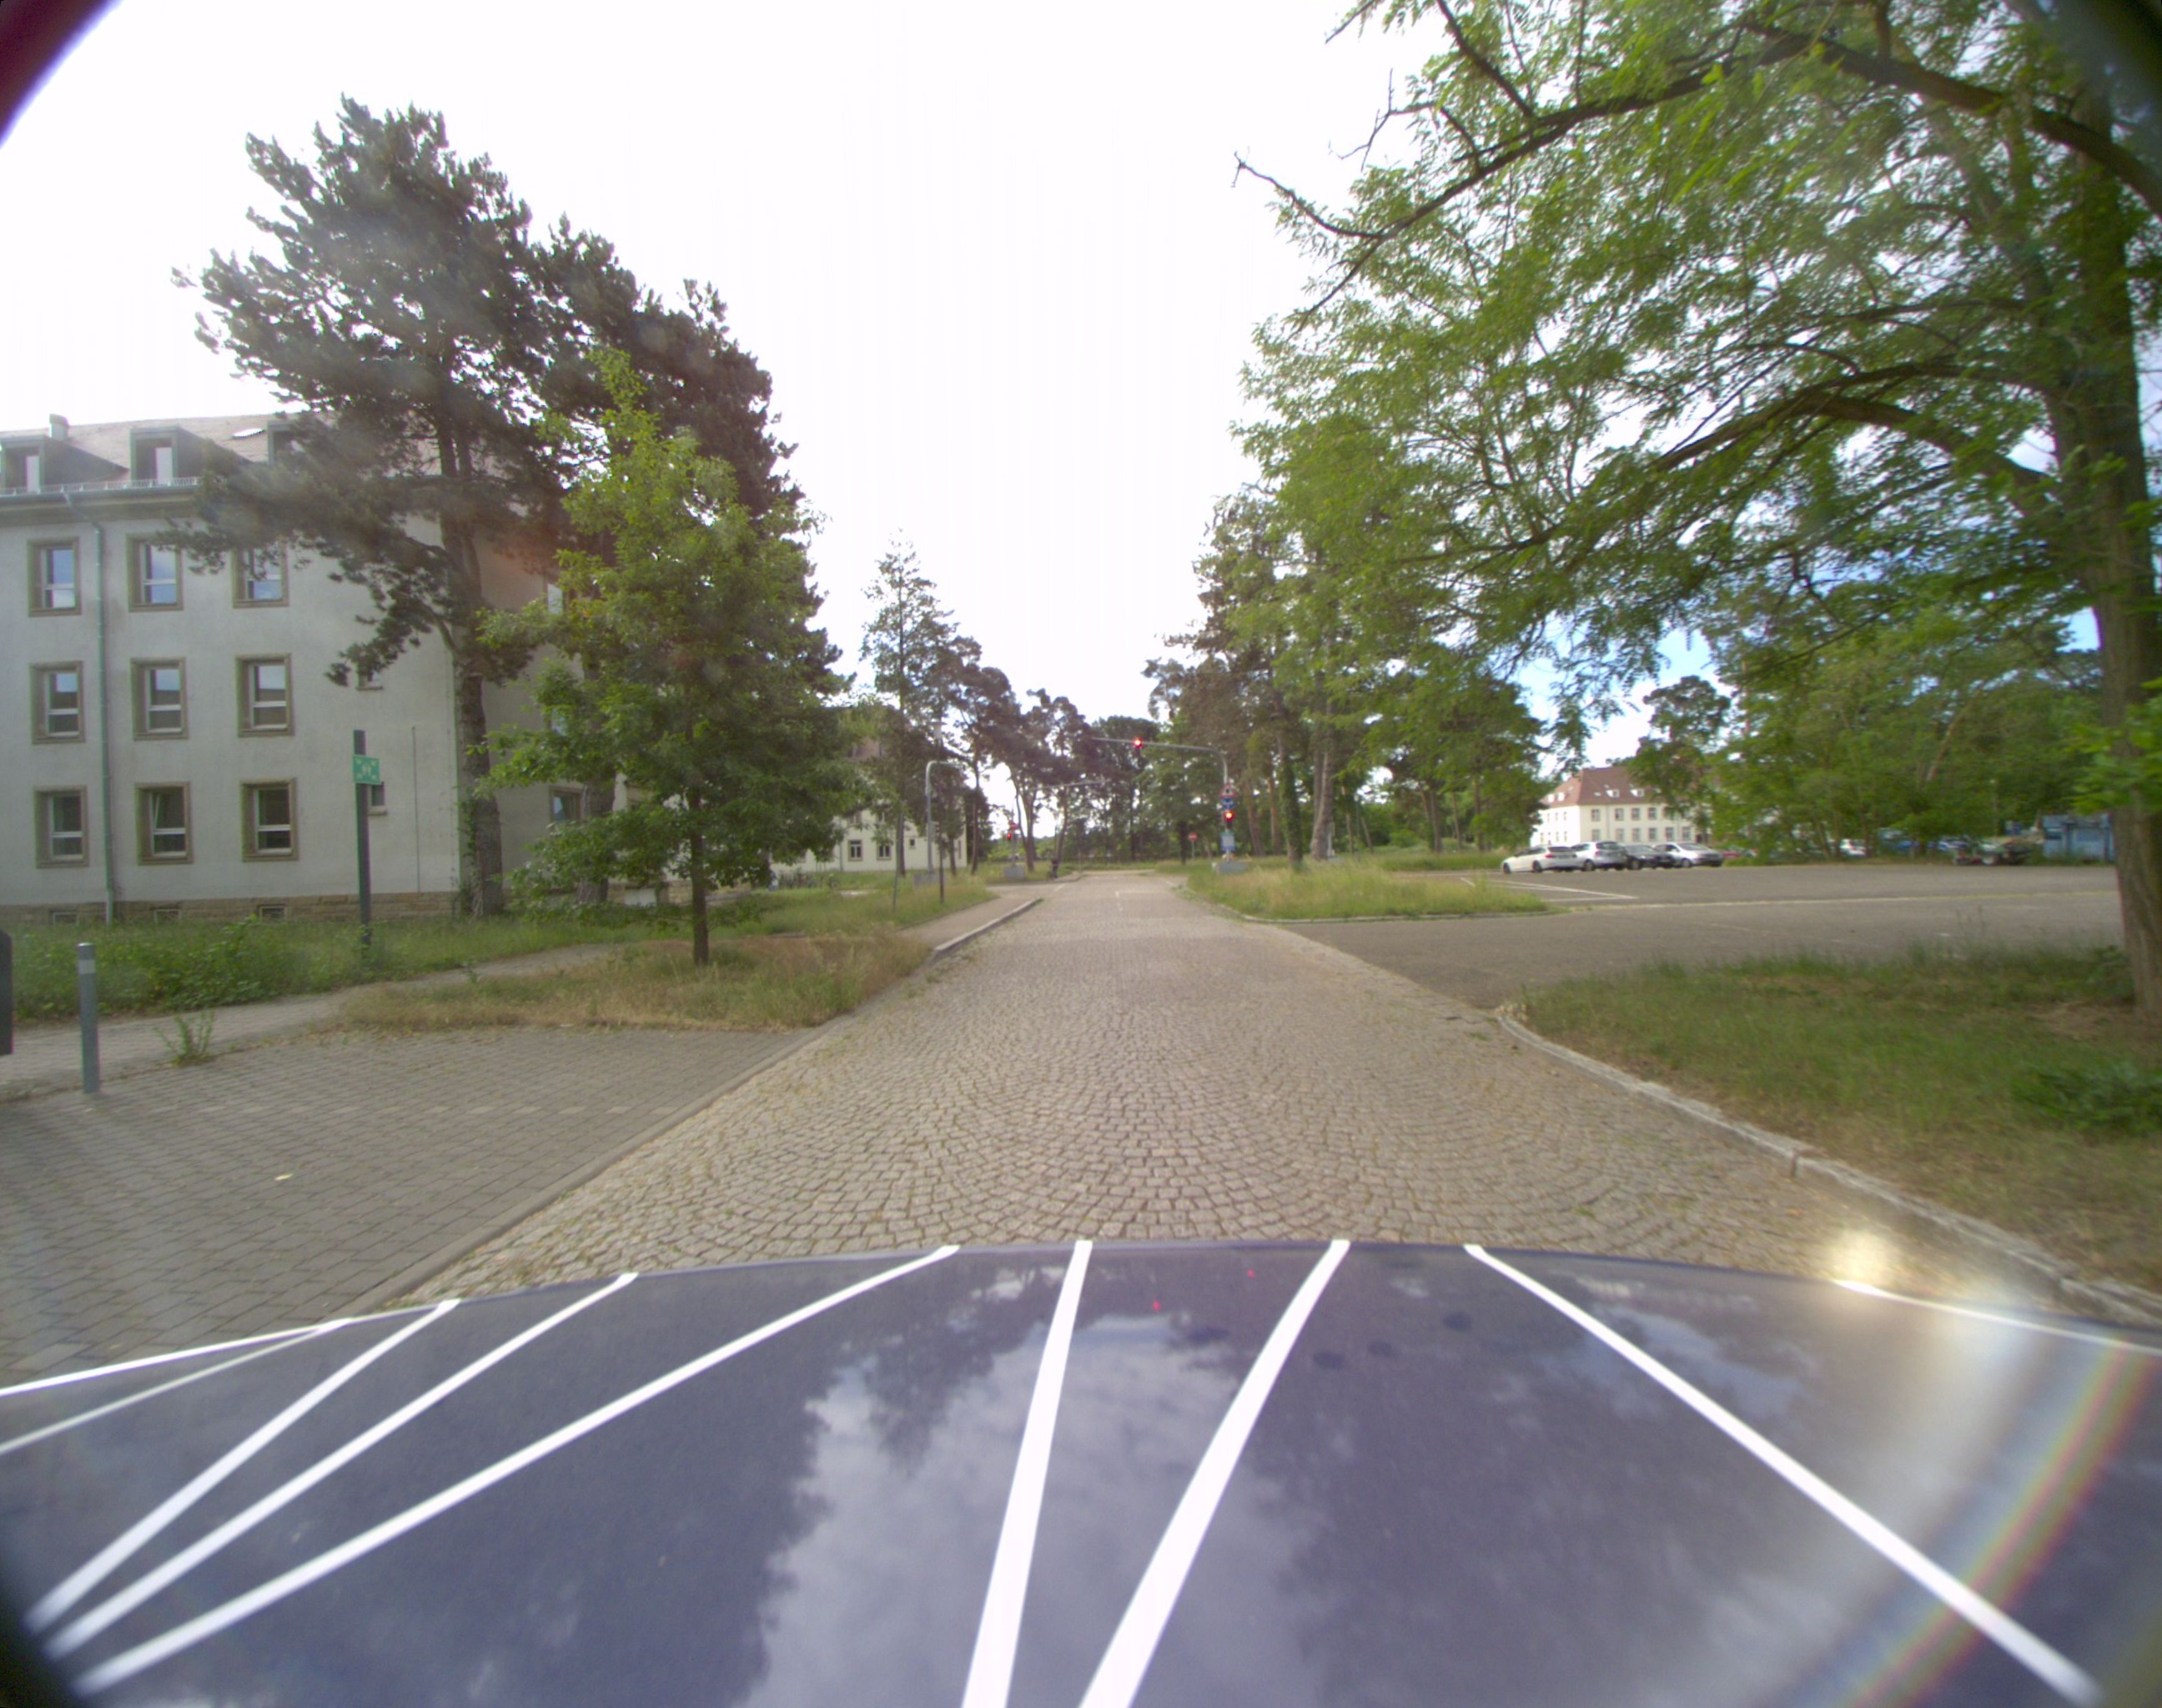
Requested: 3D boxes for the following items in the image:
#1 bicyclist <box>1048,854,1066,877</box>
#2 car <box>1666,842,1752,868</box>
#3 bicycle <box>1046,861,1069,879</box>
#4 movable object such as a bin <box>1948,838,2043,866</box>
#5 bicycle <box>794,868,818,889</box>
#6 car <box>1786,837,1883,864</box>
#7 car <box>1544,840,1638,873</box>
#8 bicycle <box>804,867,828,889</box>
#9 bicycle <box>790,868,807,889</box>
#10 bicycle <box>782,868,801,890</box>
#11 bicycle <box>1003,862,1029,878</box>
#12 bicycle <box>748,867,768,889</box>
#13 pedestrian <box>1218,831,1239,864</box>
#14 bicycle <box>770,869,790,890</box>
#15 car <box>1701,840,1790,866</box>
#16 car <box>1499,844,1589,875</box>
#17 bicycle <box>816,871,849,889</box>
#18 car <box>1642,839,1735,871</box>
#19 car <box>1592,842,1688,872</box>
[{"bbox_3d":[-1.752,0.831,55.286,0.962,1.625,0.919,-2,0,18],"label":"bicyclist"},{"bbox_3d":[41.741,0.127,50.666,1.840,1.512,4.586,-2,-2,0],"label":"car"},{"bbox_3d":[-1.707,1.158,55.302,0.962,1.268,2.166,-2,0,18],"label":"bicycle"},{"bbox_3d":[32.877,-0.063,27.359,1.041,0.927,1.935,-1,0,-5],"label":"movable object such as a bin"},{"bbox_3d":[-17.858,1.565,49.345,0.572,1.324,1.839,-2,0,10],"label":"bicycle"},{"bbox_3d":[50.125,-0.187,50.705,1.840,1.564,4.586,-2,-2,0],"label":"car"},{"bbox_3d":[26.849,0.174,40.192,1.840,1.568,4.586,-2,-2,0],"label":"car"},{"bbox_3d":[-17.228,1.546,49.440,0.572,1.324,1.839,-2,0,10],"label":"bicycle"},{"bbox_3d":[-18.354,1.592,49.373,0.482,1.324,1.837,-2,0,-3],"label":"bicycle"},{"bbox_3d":[-18.786,1.615,49.399,0.572,1.324,1.837,-2,0,-3],"label":"bicycle"},{"bbox_3d":[-4.714,1.179,55.160,1.836,1.079,0.572,-2,2,0],"label":"bicycle"},{"bbox_3d":[-20.977,1.549,49.325,0.572,1.324,1.837,-2,0,-3],"label":"bicycle"},{"bbox_3d":[7.127,-0.311,36.777,0.882,1.508,0.822,-2,0,16],"label":"pedestrian"},{"bbox_3d":[-19.553,1.638,49.360,0.572,1.324,1.837,-2,0,-3],"label":"bicycle"},{"bbox_3d":[44.369,-0.006,50.891,1.840,1.512,4.586,-2,-2,0],"label":"car"},{"bbox_3d":[24.238,0.350,40.044,1.840,1.441,4.657,-2,-2,0],"label":"car"},{"bbox_3d":[-15.585,1.633,47.715,1.836,1.079,0.573,-2,2,5],"label":"bicycle"},{"bbox_3d":[32.260,0.088,40.494,1.736,1.512,4.116,-2,-2,2],"label":"car"},{"bbox_3d":[29.506,0.201,40.316,1.839,1.460,4.587,-2,-2,2],"label":"car"}]
